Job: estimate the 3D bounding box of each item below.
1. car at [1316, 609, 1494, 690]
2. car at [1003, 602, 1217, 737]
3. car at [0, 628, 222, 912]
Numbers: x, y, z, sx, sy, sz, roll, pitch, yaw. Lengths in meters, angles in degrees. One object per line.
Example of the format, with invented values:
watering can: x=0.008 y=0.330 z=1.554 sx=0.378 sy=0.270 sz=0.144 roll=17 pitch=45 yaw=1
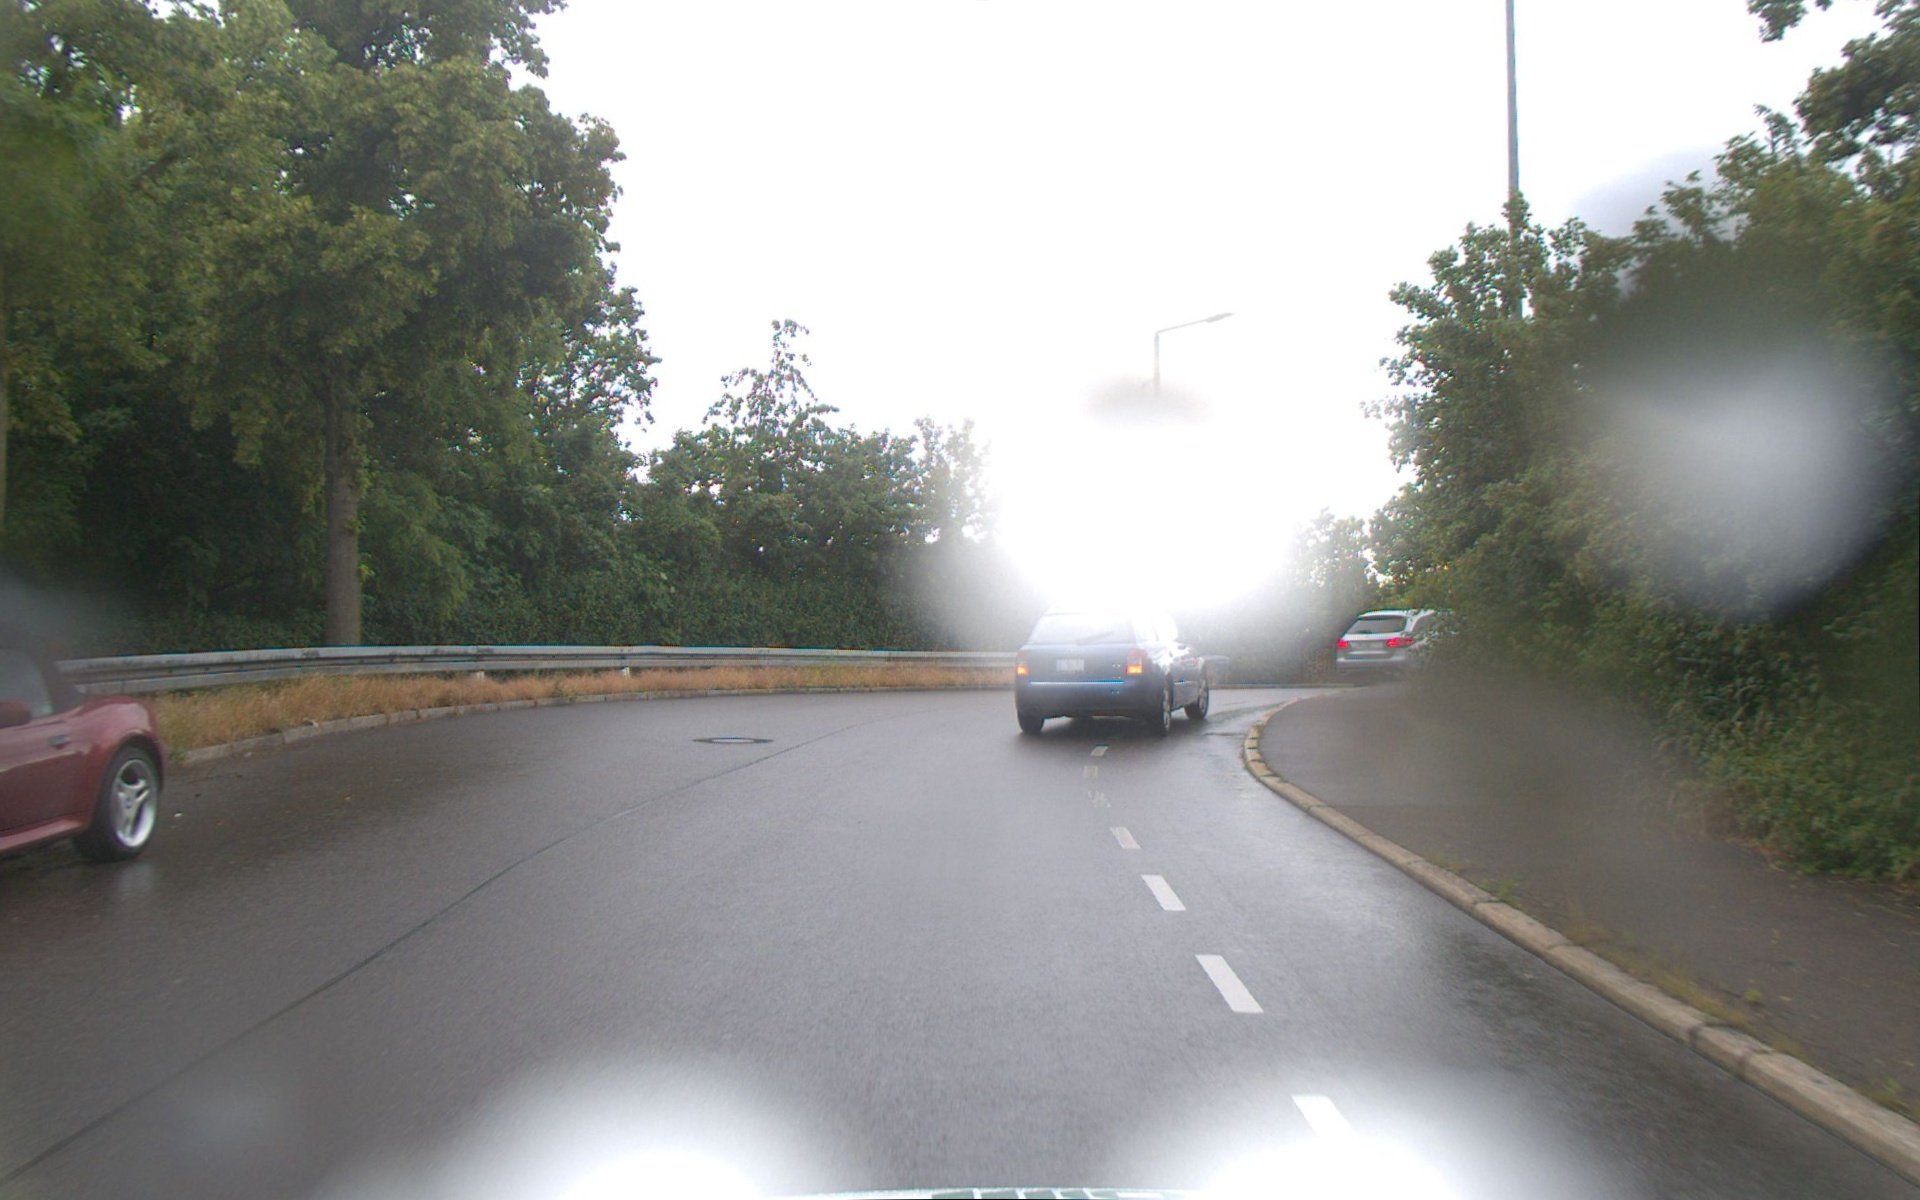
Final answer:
car: x=8.407 y=0.880 z=31.040 sx=1.860 sy=1.413 sz=3.982 roll=-1 pitch=-1 yaw=38
car: x=1.890 y=0.747 z=19.662 sx=1.710 sy=1.432 sz=4.002 roll=0 pitch=0 yaw=18
car: x=-5.445 y=0.831 z=7.935 sx=1.752 sy=1.320 sz=4.326 roll=-1 pitch=0 yaw=2
